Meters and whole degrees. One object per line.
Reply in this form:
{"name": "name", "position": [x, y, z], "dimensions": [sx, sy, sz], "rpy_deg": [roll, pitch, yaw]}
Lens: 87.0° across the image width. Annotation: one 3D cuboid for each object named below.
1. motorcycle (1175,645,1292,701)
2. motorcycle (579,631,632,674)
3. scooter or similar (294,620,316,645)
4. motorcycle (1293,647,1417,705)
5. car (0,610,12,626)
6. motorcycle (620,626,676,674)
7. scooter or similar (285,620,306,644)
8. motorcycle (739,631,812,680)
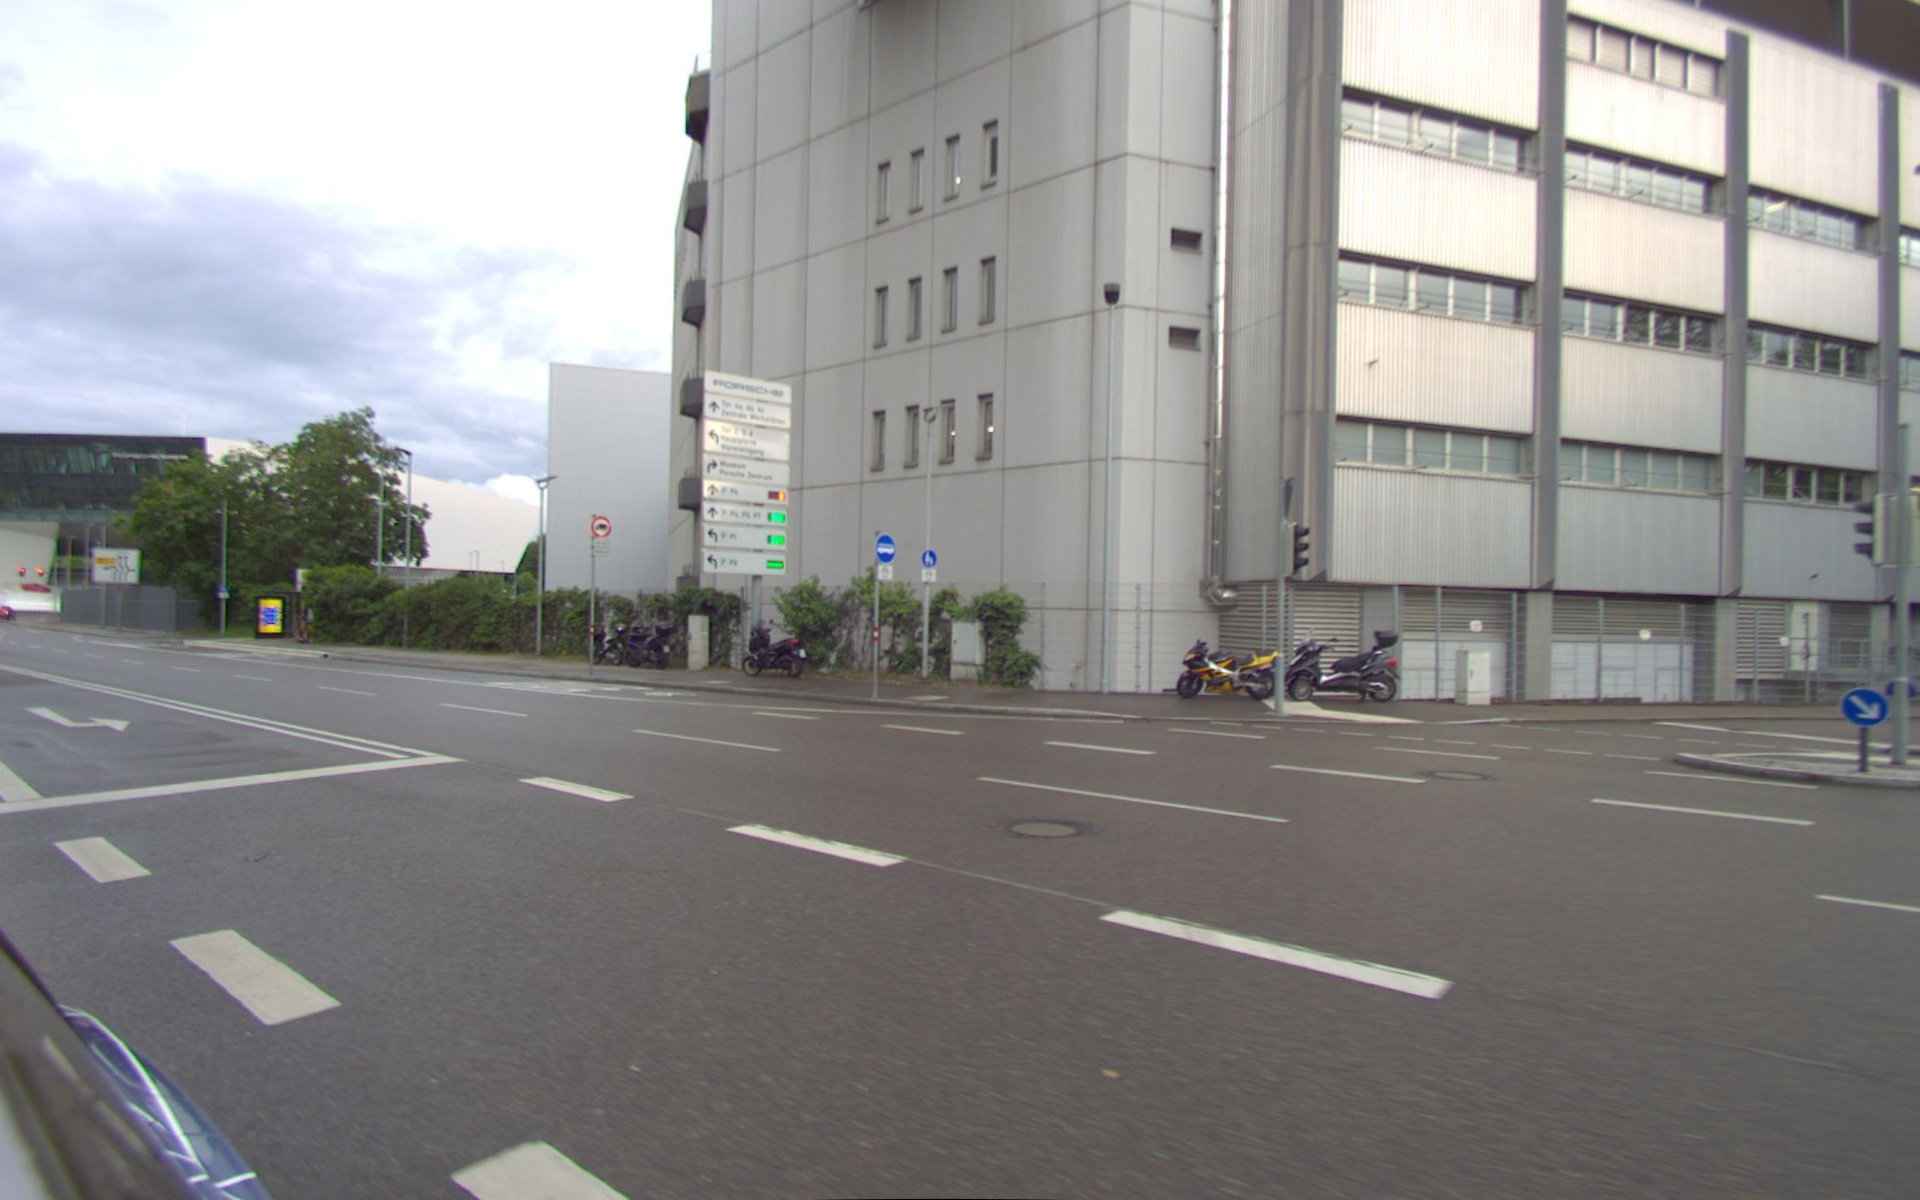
{"name": "motorcycle", "position": [5.353, 1.428, 19.888], "dimensions": [2.144, 1.035, 0.625], "rpy_deg": [1, -2, 6]}
{"name": "motorcycle", "position": [-10.695, 1.570, 30.498], "dimensions": [1.967, 1.224, 0.618], "rpy_deg": [-1, -3, 42]}
{"name": "scooter or similar", "position": [-30.095, 1.489, 46.492], "dimensions": [1.568, 1.138, 0.389], "rpy_deg": [-1, -3, 41]}
{"name": "motorcycle", "position": [7.593, 1.454, 19.526], "dimensions": [2.150, 1.035, 0.624], "rpy_deg": [0, -2, 14]}
{"name": "car", "position": [-100.120, 1.832, 105.269], "dimensions": [4.484, 1.602, 1.752], "rpy_deg": [-1, -3, 42]}
{"name": "motorcycle", "position": [-8.847, 1.387, 28.655], "dimensions": [0.617, 1.277, 2.172], "rpy_deg": [0, -1, -44]}
{"name": "scooter or similar", "position": [-31.291, 1.506, 47.634], "dimensions": [1.568, 1.138, 0.389], "rpy_deg": [-1, -3, 41]}
{"name": "motorcycle", "position": [-4.602, 1.363, 25.160], "dimensions": [2.037, 1.171, 0.562], "rpy_deg": [-1, -2, 39]}
